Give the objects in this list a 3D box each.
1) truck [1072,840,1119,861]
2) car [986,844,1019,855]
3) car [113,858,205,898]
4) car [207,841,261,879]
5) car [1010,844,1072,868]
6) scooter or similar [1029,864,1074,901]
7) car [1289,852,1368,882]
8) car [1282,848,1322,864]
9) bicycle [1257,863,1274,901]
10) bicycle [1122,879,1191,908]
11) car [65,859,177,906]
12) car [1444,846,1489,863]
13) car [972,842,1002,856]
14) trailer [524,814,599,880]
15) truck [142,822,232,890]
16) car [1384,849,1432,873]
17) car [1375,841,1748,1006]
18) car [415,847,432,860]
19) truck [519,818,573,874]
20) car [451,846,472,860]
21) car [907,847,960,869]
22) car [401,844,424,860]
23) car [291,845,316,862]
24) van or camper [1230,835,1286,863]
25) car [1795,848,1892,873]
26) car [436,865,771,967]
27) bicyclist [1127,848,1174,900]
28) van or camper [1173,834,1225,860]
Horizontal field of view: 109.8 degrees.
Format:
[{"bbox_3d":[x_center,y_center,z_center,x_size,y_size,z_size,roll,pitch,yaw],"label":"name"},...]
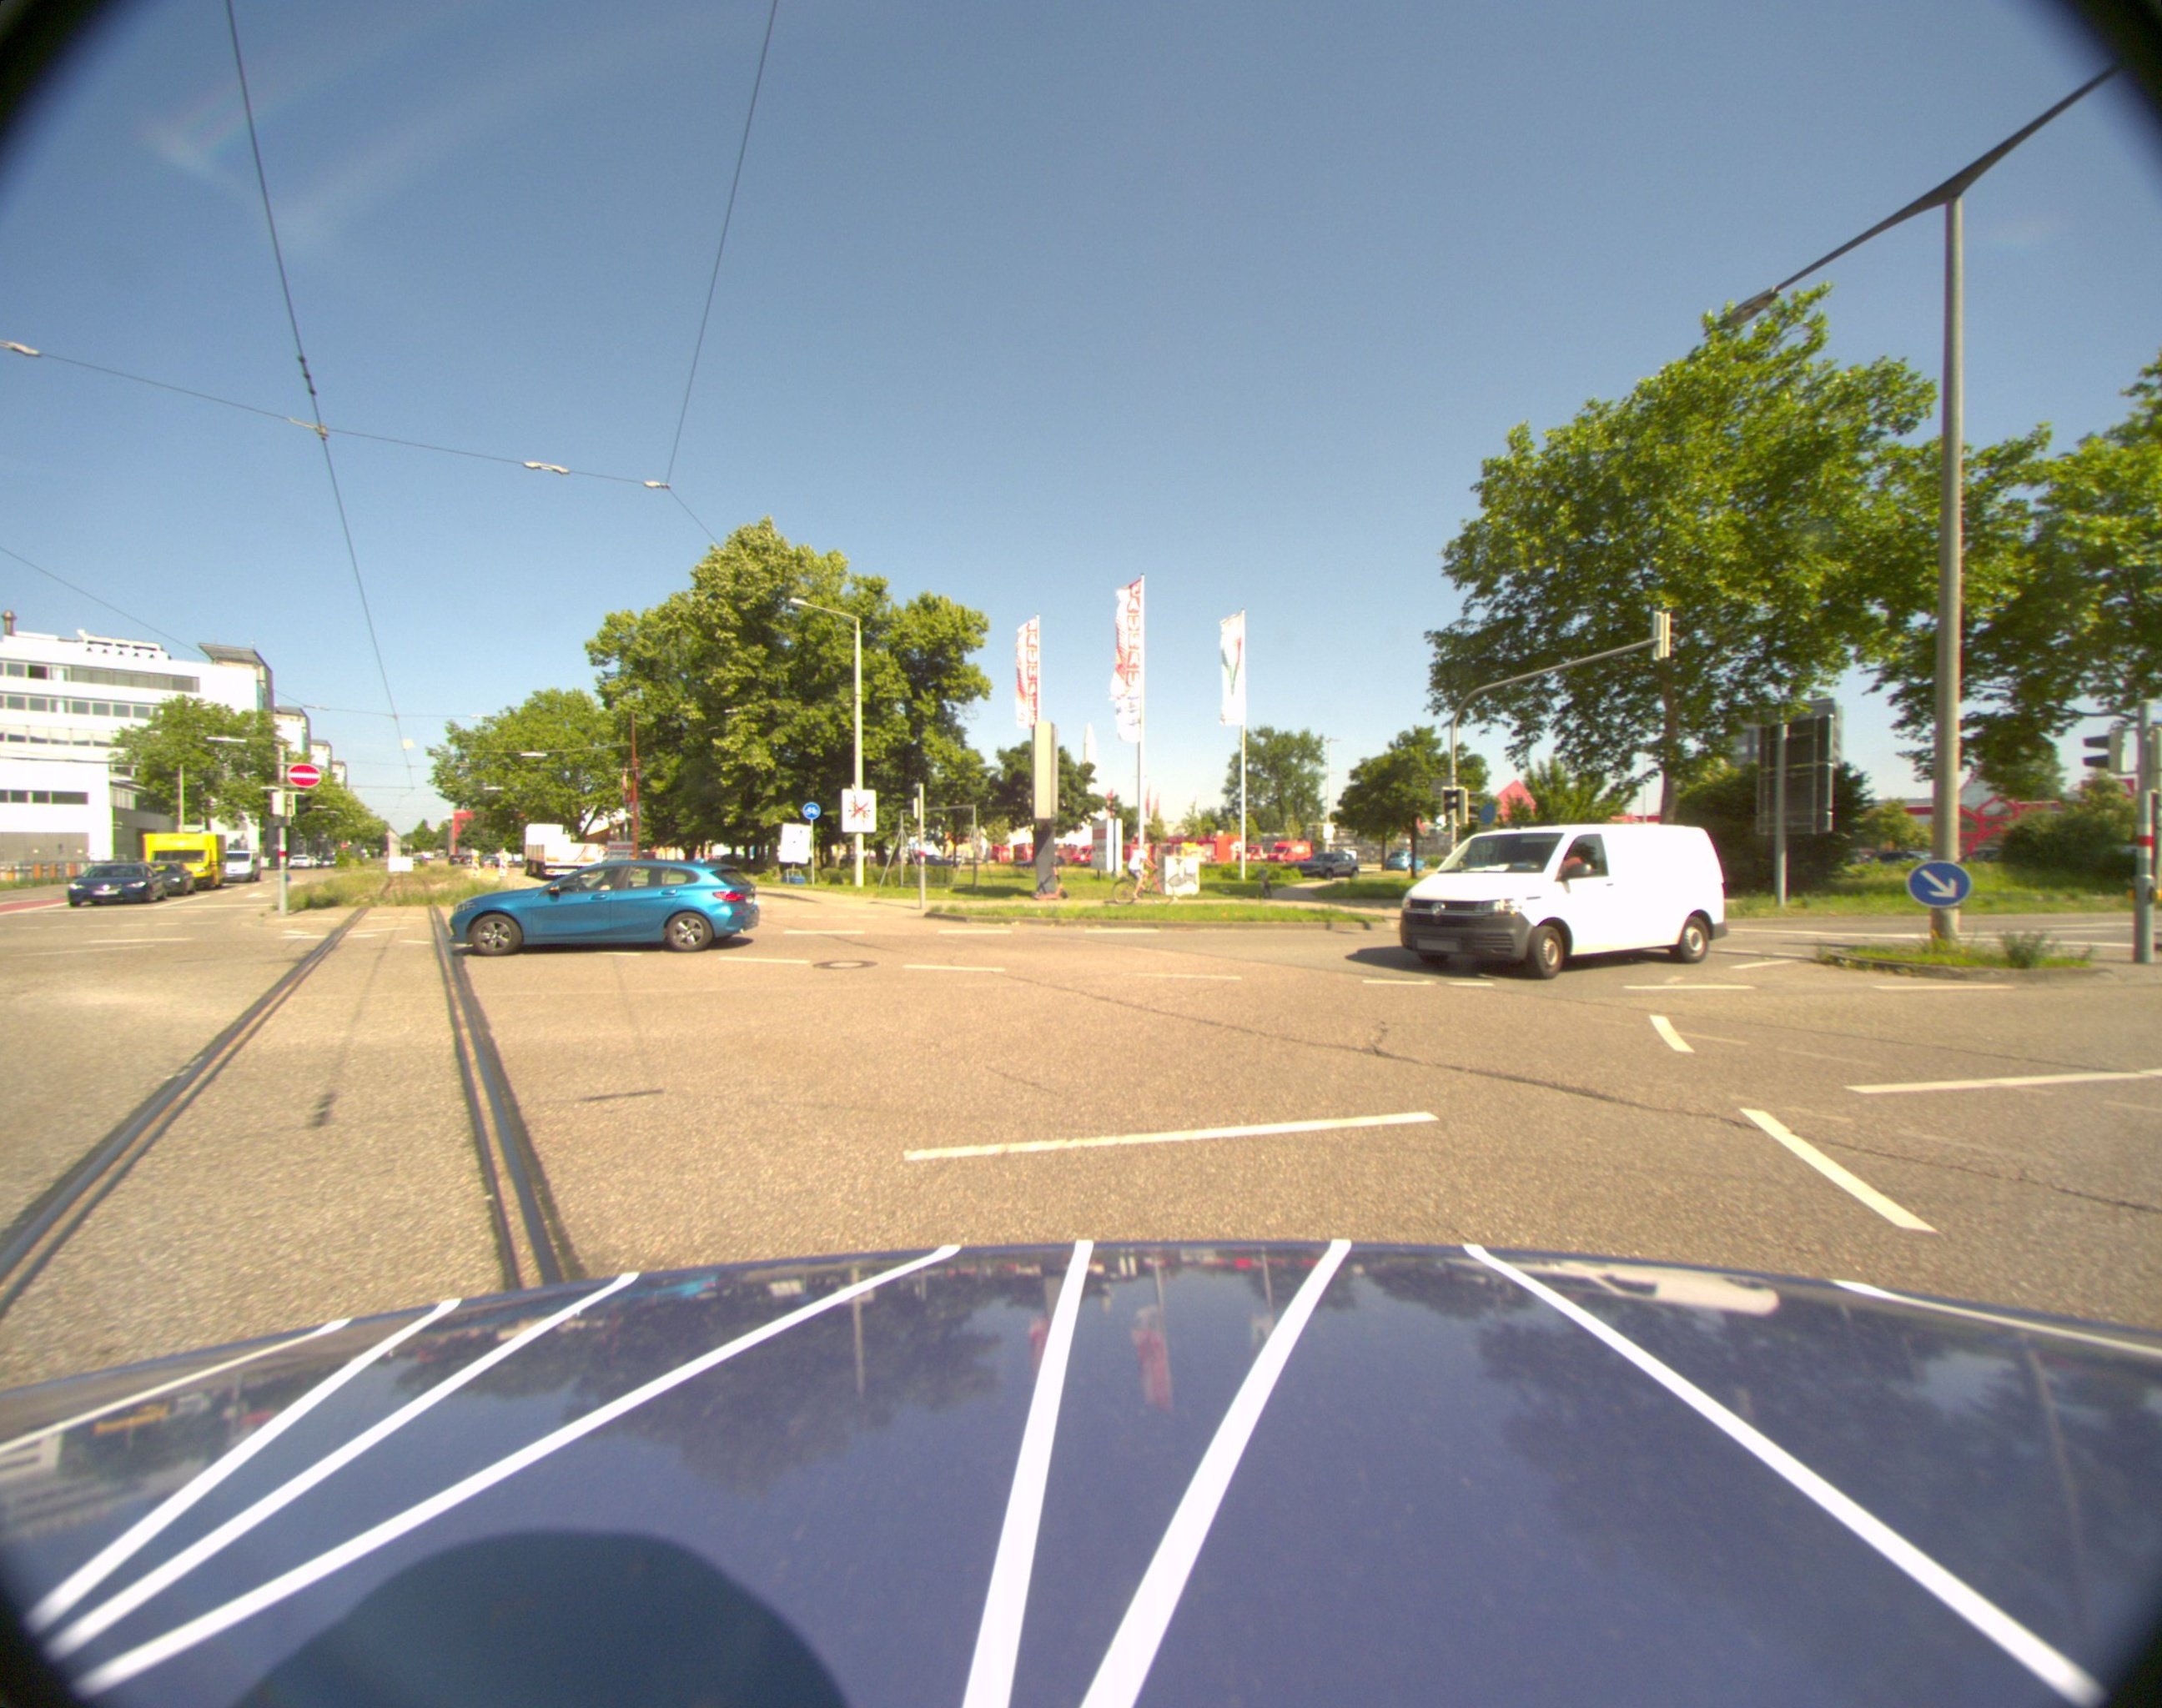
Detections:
[{"bbox_3d":[1.772,-0.424,91.514,5.794,2.397,1.995,0,-2,-41],"label":"truck"},{"bbox_3d":[-13.117,-0.698,127.698,5.155,1.743,1.995,0,-2,-34],"label":"car"},{"bbox_3d":[-37.931,1.008,31.363,2.004,1.542,3.989,0,-2,-45],"label":"car"},{"bbox_3d":[-52.121,0.389,46.829,2.004,2.188,3.989,0,-2,-45],"label":"car"},{"bbox_3d":[-2.926,0.171,55.580,4.007,1.673,1.995,0,-2,-33],"label":"car"},{"bbox_3d":[-0.938,0.896,23.973,1.373,1.142,0.436,0,1,-7],"label":"scooter or similar"},{"bbox_3d":[12.483,0.669,38.305,4.008,1.411,1.901,0,-2,-39],"label":"car"},{"bbox_3d":[22.256,0.243,76.490,4.401,1.520,1.784,0,-2,-41],"label":"car"},{"bbox_3d":[5.992,0.885,24.745,0.495,1.133,1.910,-1,1,13],"label":"bicycle"},{"bbox_3d":[2.157,1.129,21.733,1.910,0.789,0.533,0,1,-4],"label":"bicycle"},{"bbox_3d":[-33.837,1.008,26.905,2.004,1.542,3.989,0,-2,-45],"label":"car"},{"bbox_3d":[41.862,0.074,82.539,1.792,1.712,3.919,0,-2,-40],"label":"car"},{"bbox_3d":[-14.093,-0.775,114.147,1.994,2.001,4.009,-2,-2,42],"label":"car"},{"bbox_3d":[-33.216,-0.464,48.328,2.821,3.752,11.816,-1,1,-40],"label":"trailer"},{"bbox_3d":[-44.202,0.205,37.745,2.304,3.116,6.942,0,-2,-45],"label":"truck"},{"bbox_3d":[22.471,0.494,52.174,3.494,1.523,1.539,0,-2,-39],"label":"car"},{"bbox_3d":[6.657,0.781,10.508,4.887,1.889,1.870,0,0,-22],"label":"car"},{"bbox_3d":[-104.493,-0.084,120.745,2.004,2.001,3.989,0,-2,-42],"label":"car"},{"bbox_3d":[-38.551,-0.544,54.730,2.805,3.805,5.090,0,0,-40],"label":"truck"},{"bbox_3d":[-89.342,-0.117,109.581,2.004,2.001,3.989,0,-2,-44],"label":"car"},{"bbox_3d":[-12.841,0.368,66.124,4.007,1.826,1.995,0,-2,-33],"label":"car"},{"bbox_3d":[-88.365,-0.234,100.436,2.004,2.001,3.989,0,-2,-44],"label":"car"},{"bbox_3d":[-100.666,-0.038,98.414,2.004,2.001,3.989,0,-2,-42],"label":"car"},{"bbox_3d":[19.313,-0.526,82.680,7.303,2.924,1.995,0,-2,-42],"label":"van or camper"},{"bbox_3d":[41.158,0.375,41.120,1.612,1.239,3.530,-1,-2,-3],"label":"car"},{"bbox_3d":[-7.411,0.918,12.222,4.130,1.412,1.872,0,0,-8],"label":"car"},{"bbox_3d":[1.984,0.567,21.777,1.236,1.469,0.758,0,1,-2],"label":"bicyclist"},{"bbox_3d":[14.106,-0.744,90.450,7.303,2.924,1.995,0,-2,-42],"label":"van or camper"}]
